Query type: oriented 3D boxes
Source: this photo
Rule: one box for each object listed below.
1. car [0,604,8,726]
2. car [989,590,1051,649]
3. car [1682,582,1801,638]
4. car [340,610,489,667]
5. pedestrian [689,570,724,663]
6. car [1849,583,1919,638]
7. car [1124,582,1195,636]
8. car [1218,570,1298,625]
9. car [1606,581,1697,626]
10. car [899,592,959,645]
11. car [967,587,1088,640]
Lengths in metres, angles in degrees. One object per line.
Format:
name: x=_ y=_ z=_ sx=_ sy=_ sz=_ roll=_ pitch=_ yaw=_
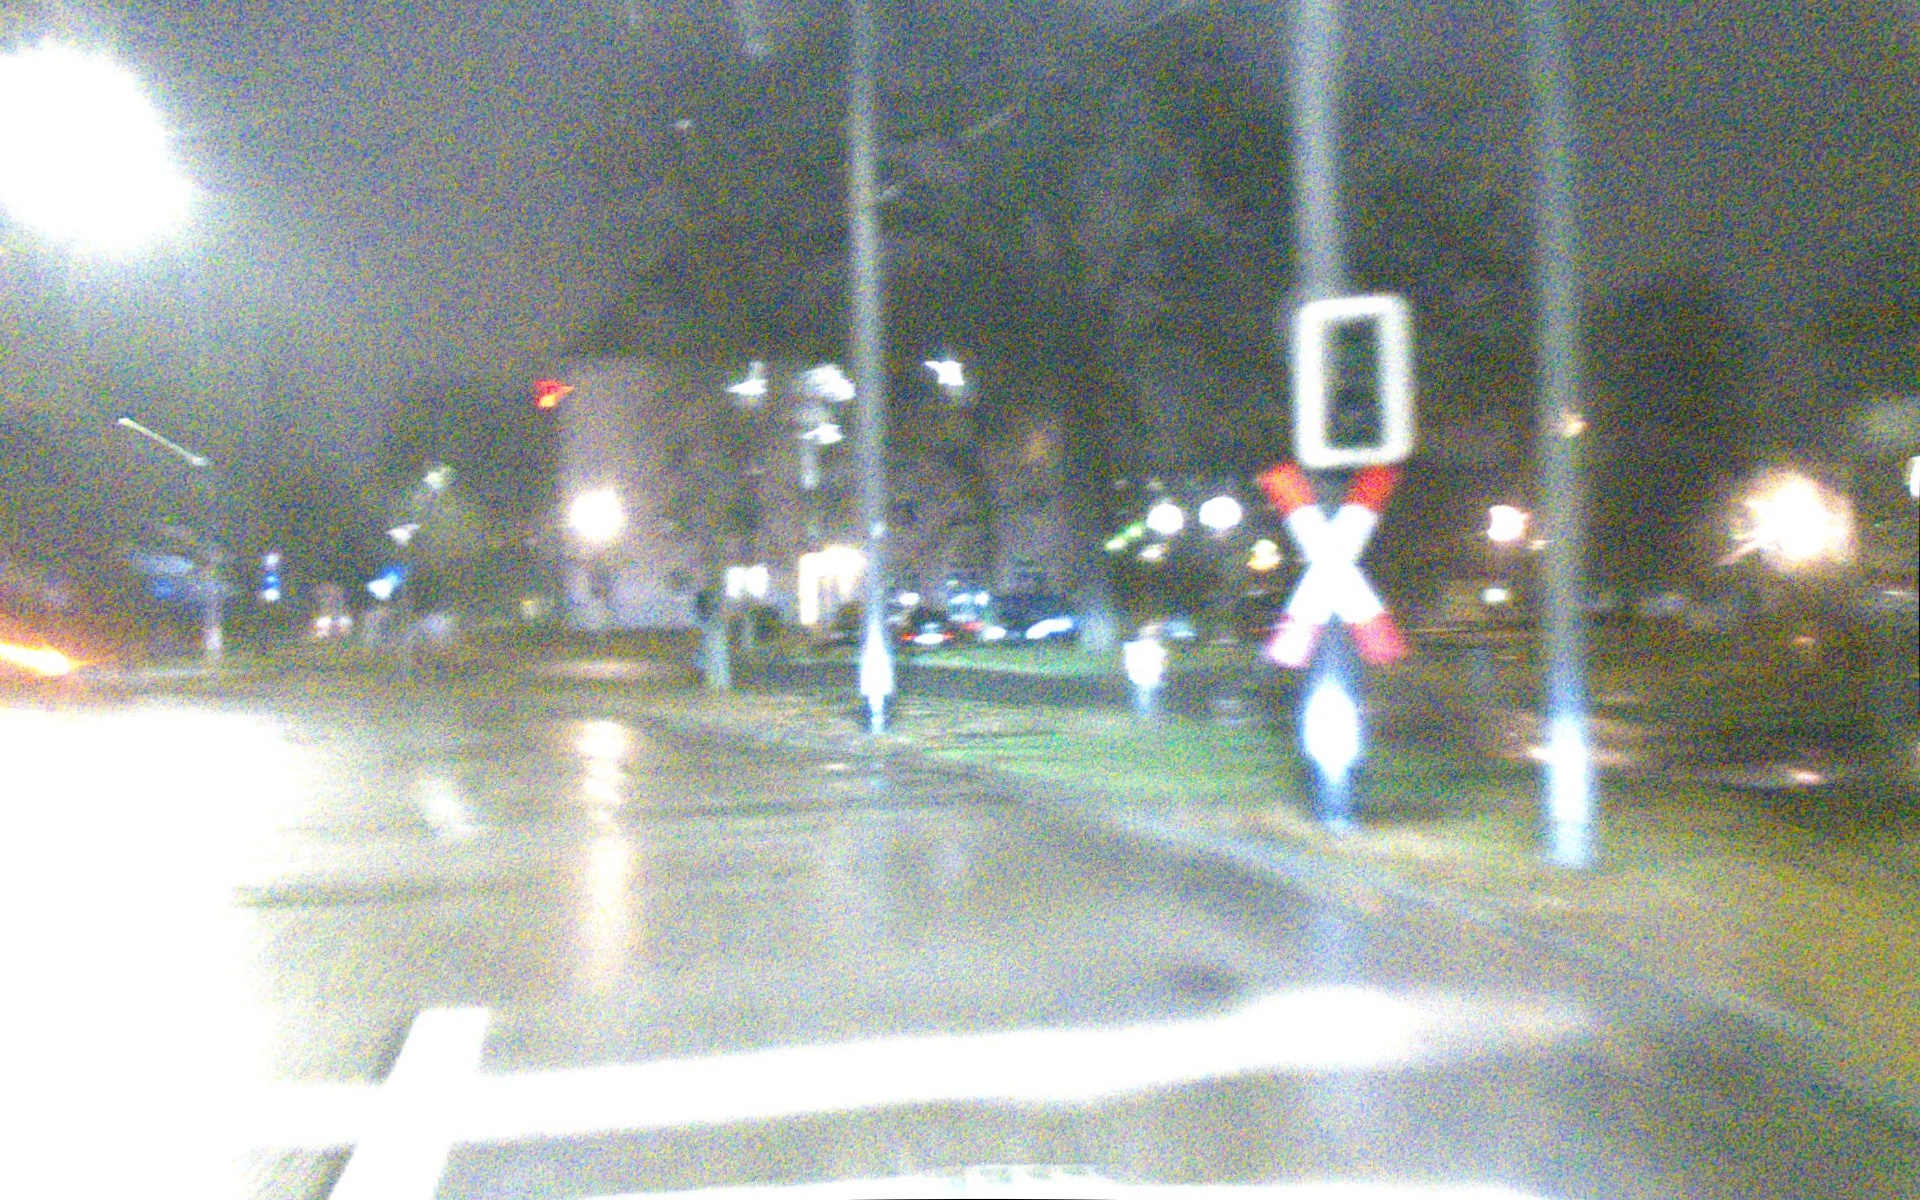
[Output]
car: x=-18.201 y=1.111 z=29.165 sx=1.978 sy=2.049 sz=4.498 roll=0 pitch=-1 yaw=-36
car: x=1.731 y=0.616 z=48.804 sx=1.681 sy=1.523 sz=3.911 roll=-1 pitch=-4 yaw=0
car: x=23.027 y=0.296 z=48.902 sx=1.681 sy=1.563 sz=3.912 roll=0 pitch=0 yaw=0
car: x=-16.760 y=1.164 z=50.898 sx=3.902 sy=1.713 sz=1.920 roll=0 pitch=0 yaw=9
pedestrian: x=-5.389 y=0.346 z=35.158 sx=0.641 sy=1.935 sz=0.726 roll=0 pitch=-1 yaw=-16
car: x=28.067 y=0.299 z=48.724 sx=1.681 sy=1.563 sz=3.912 roll=0 pitch=0 yaw=0
car: x=5.868 y=0.274 z=49.002 sx=1.681 sy=1.523 sz=3.912 roll=0 pitch=0 yaw=0
car: x=8.758 y=-0.056 z=48.879 sx=1.681 sy=1.563 sz=3.912 roll=0 pitch=0 yaw=0
car: x=25.206 y=0.138 z=60.424 sx=1.681 sy=1.563 sz=3.912 roll=0 pitch=0 yaw=0
car: x=-0.894 y=0.539 z=49.313 sx=1.681 sy=1.523 sz=3.912 roll=0 pitch=0 yaw=0
car: x=2.254 y=0.444 z=55.116 sx=3.970 sy=1.711 sz=1.793 roll=0 pitch=0 yaw=2
